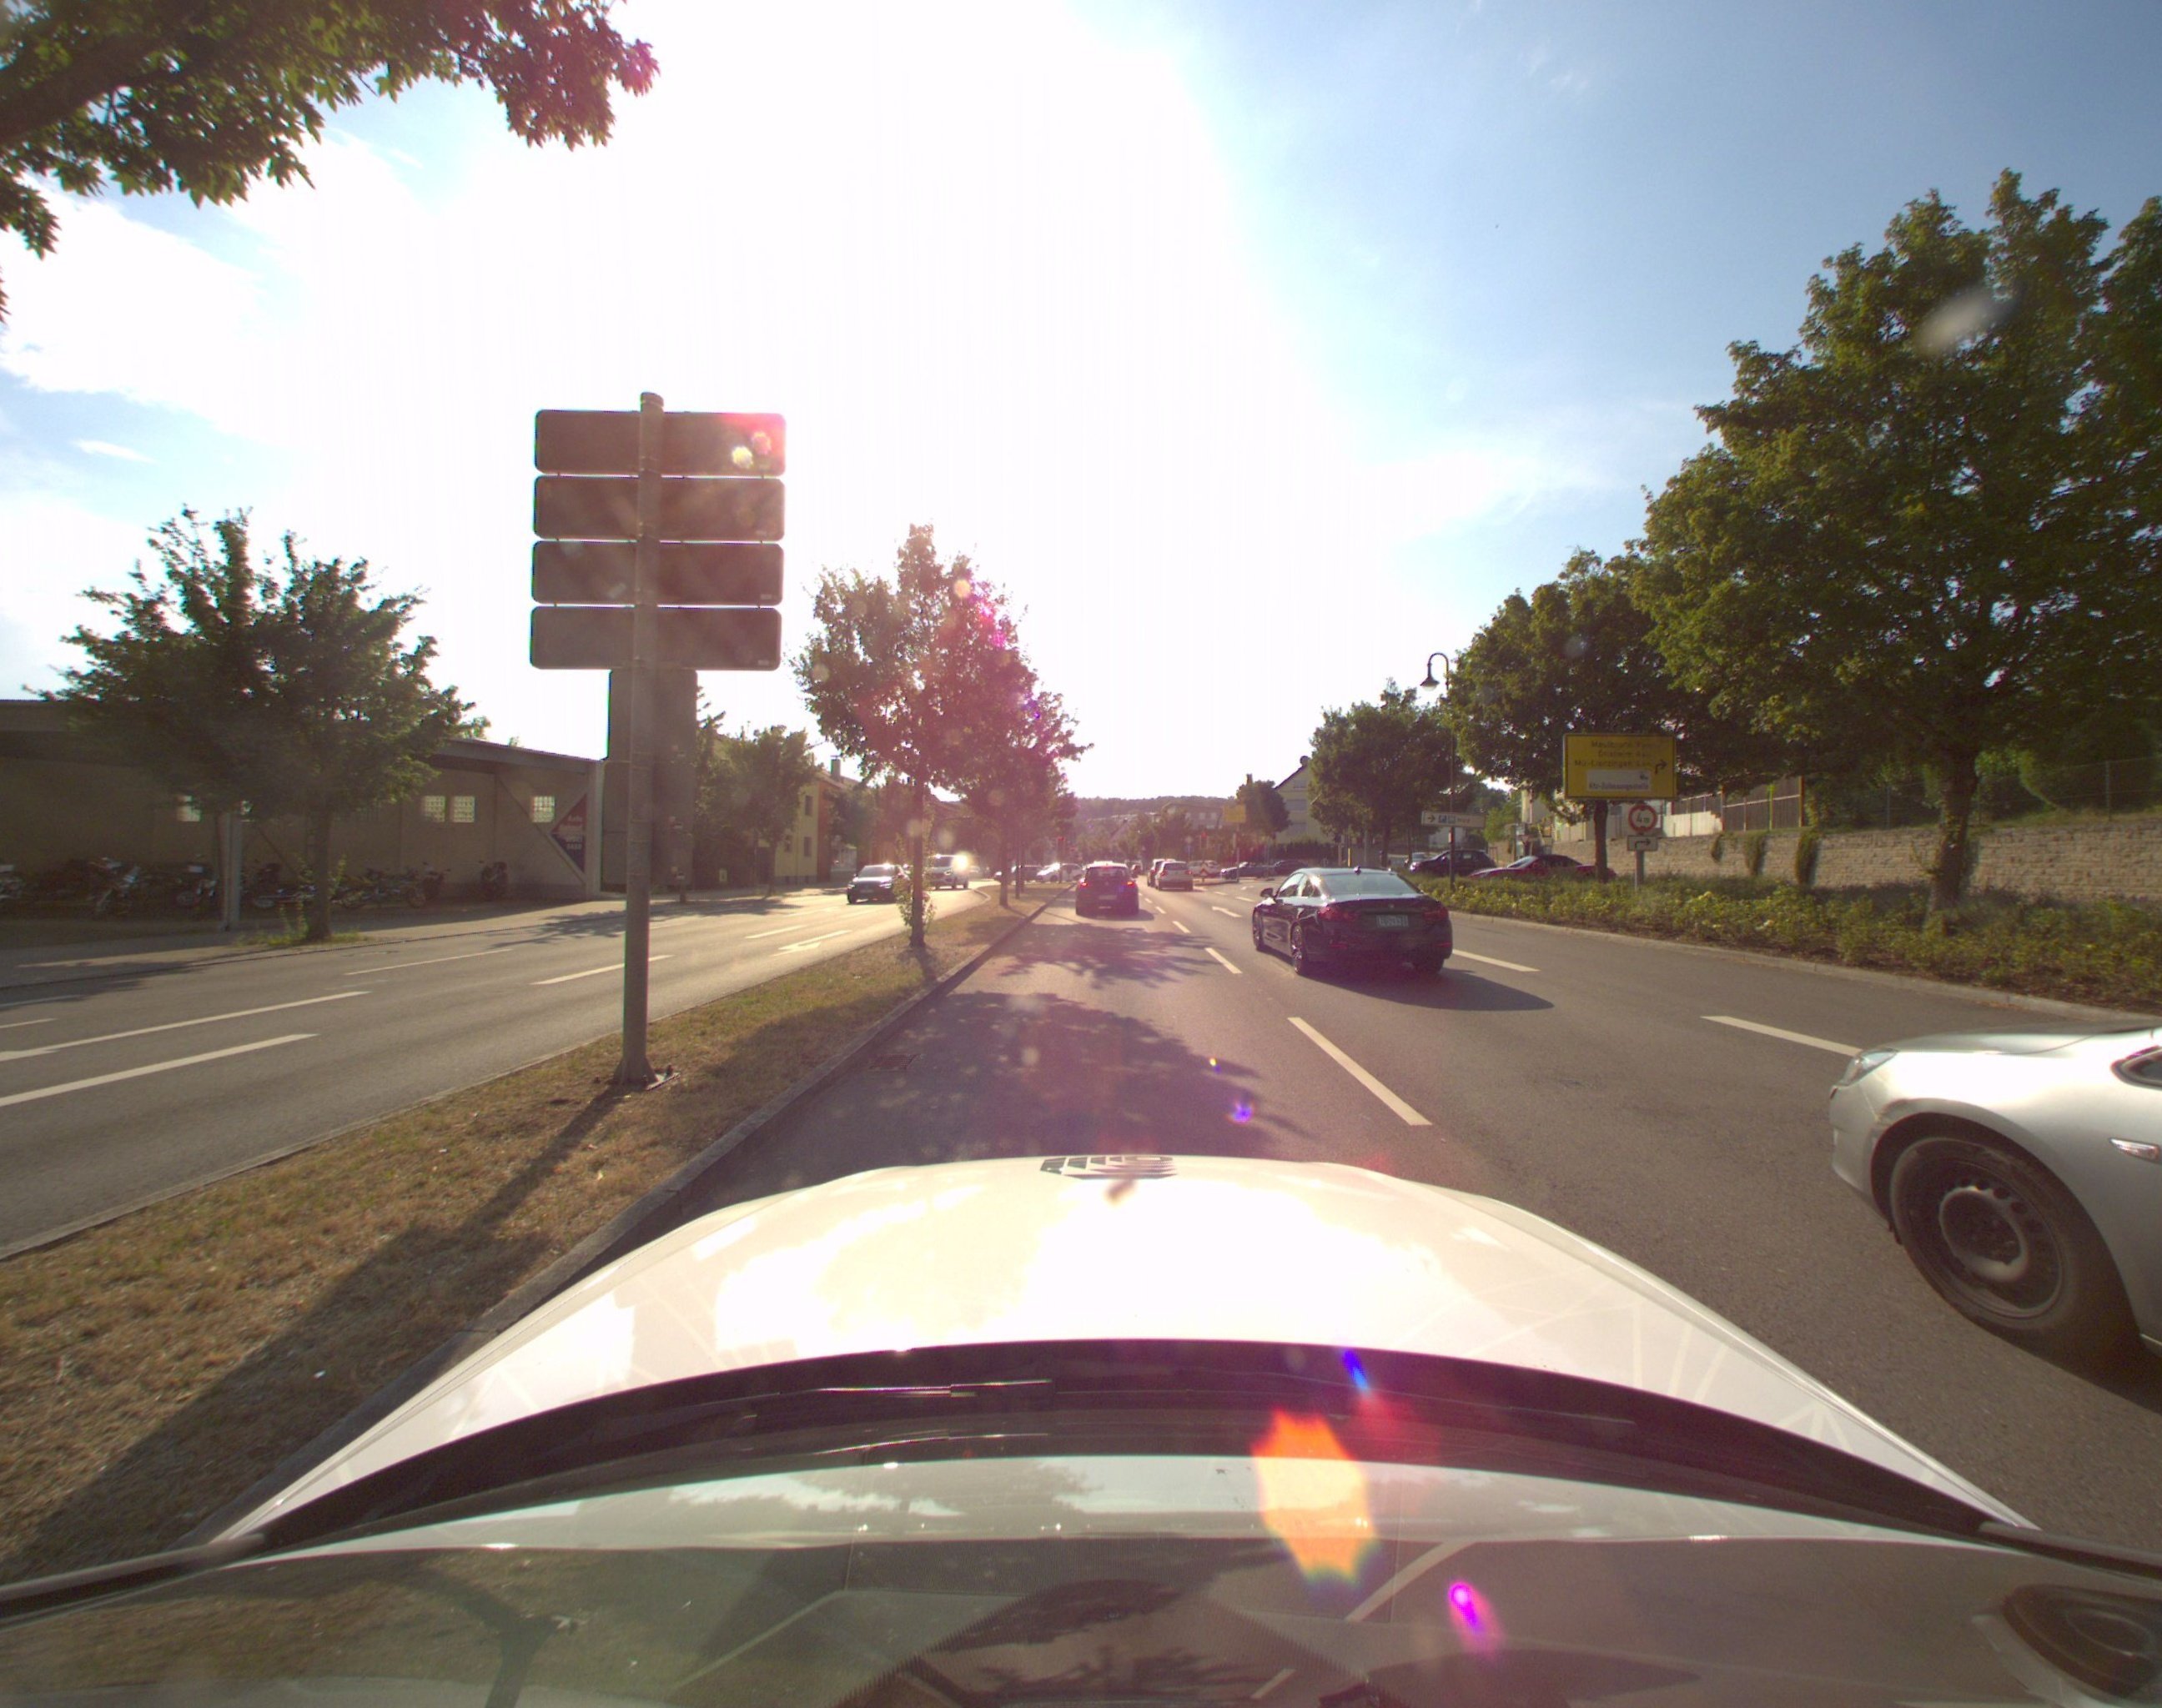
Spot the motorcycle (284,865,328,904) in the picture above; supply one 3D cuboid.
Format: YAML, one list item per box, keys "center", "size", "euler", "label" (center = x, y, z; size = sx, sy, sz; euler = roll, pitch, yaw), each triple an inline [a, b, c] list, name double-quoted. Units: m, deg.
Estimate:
- center: [-26.940, 1.035, 28.342]
  size: [0.585, 1.308, 2.071]
  euler: [0, -1, -29]
  label: "motorcycle"

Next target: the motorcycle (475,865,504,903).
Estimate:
- center: [-20.735, 1.027, 28.565]
  size: [0.564, 1.308, 2.096]
  euler: [0, -1, -29]
  label: "motorcycle"

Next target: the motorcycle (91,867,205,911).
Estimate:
- center: [-28.055, 1.029, 24.533]
  size: [0.638, 1.258, 2.167]
  euler: [-1, -1, 31]
  label: "motorcycle"

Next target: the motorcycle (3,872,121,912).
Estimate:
- center: [-30.646, 1.113, 24.537]
  size: [0.556, 1.123, 2.167]
  euler: [-1, -1, 31]
  label: "motorcycle"

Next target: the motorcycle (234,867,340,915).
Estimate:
- center: [-23.275, 1.063, 23.925]
  size: [0.556, 1.330, 2.167]
  euler: [-1, -1, 31]
  label: "motorcycle"

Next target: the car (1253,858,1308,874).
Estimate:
- center: [18.215, 1.085, 74.383]
  size: [4.614, 1.422, 1.849]
  euler: [0, -1, 0]
  label: "car"

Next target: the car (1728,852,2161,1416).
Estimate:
- center: [3.593, 0.698, 1.419]
  size: [1.737, 1.442, 4.169]
  euler: [-1, -1, 2]
  label: "car"

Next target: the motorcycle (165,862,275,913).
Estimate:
- center: [-25.708, 0.982, 24.373]
  size: [0.587, 1.449, 2.167]
  euler: [-1, -1, 31]
  label: "motorcycle"

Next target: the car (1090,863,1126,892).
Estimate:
- center: [1.446, 1.186, 42.932]
  size: [1.809, 1.451, 4.244]
  euler: [-1, -1, 2]
  label: "car"

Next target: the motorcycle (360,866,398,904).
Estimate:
- center: [-25.112, 1.102, 29.161]
  size: [0.625, 1.308, 2.071]
  euler: [0, -1, -29]
  label: "motorcycle"

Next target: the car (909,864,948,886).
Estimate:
- center: [-10.627, 1.425, 57.007]
  size: [1.800, 1.497, 4.246]
  euler: [0, -1, 1]
  label: "car"

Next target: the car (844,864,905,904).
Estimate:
- center: [-8.059, 1.126, 32.087]
  size: [1.767, 1.451, 4.098]
  euler: [-1, -1, -7]
  label: "car"

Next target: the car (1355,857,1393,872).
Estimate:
- center: [28.683, 1.010, 79.621]
  size: [1.844, 1.486, 4.687]
  euler: [-1, -1, 42]
  label: "car"

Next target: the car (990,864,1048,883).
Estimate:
- center: [-5.289, 1.640, 69.543]
  size: [4.726, 1.462, 1.675]
  euler: [0, -1, -31]
  label: "car"

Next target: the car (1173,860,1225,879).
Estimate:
- center: [11.357, 1.513, 78.326]
  size: [4.465, 1.702, 1.909]
  euler: [-2, -1, 33]
  label: "car"

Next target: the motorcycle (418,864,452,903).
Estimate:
- center: [-22.776, 1.012, 28.740]
  size: [0.564, 1.308, 2.071]
  euler: [0, -1, -29]
  label: "motorcycle"

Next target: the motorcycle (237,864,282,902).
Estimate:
- center: [-29.264, 1.017, 29.043]
  size: [0.564, 1.308, 2.071]
  euler: [0, -1, -29]
  label: "motorcycle"

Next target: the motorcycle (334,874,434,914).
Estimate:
- center: [-20.724, 1.163, 24.278]
  size: [0.623, 1.124, 2.167]
  euler: [-1, -1, 31]
  label: "motorcycle"

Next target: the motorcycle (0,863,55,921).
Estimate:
- center: [-25.296, 0.884, 19.325]
  size: [0.652, 1.311, 1.985]
  euler: [0, -1, -36]
  label: "motorcycle"

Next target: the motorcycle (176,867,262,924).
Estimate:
- center: [-21.119, 0.992, 20.000]
  size: [0.670, 1.311, 1.993]
  euler: [0, -1, -22]
  label: "motorcycle"

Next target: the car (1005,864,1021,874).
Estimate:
- center: [-10.426, 2.293, 125.768]
  size: [1.916, 1.596, 4.003]
  euler: [0, -1, 3]
  label: "car"

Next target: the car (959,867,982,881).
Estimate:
- center: [-12.931, 2.324, 95.739]
  size: [1.916, 1.596, 4.003]
  euler: [0, -1, 3]
  label: "car"

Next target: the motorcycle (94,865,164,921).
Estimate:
- center: [-23.223, 0.921, 19.907]
  size: [0.652, 1.311, 1.985]
  euler: [0, -1, -36]
  label: "motorcycle"

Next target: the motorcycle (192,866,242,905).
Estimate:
- center: [-30.239, 1.083, 28.523]
  size: [0.564, 1.308, 2.071]
  euler: [0, -1, -29]
  label: "motorcycle"

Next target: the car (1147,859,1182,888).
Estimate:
- center: [4.959, 1.130, 48.627]
  size: [1.809, 1.666, 4.349]
  euler: [-1, -1, 2]
  label: "car"

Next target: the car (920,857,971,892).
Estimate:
- center: [-7.812, 1.155, 47.386]
  size: [1.815, 1.923, 4.948]
  euler: [-1, -1, 3]
  label: "car"

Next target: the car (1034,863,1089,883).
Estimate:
- center: [-1.531, 1.454, 63.807]
  size: [3.972, 1.497, 1.787]
  euler: [0, -1, -35]
  label: "car"

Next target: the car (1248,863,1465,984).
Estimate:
- center: [3.656, 0.841, 11.688]
  size: [1.809, 1.389, 4.349]
  euler: [-1, -1, 2]
  label: "car"

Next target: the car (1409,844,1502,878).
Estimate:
- center: [18.771, 0.369, 40.939]
  size: [3.959, 1.608, 1.860]
  euler: [-1, -1, 13]
  label: "car"

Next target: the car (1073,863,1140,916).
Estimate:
- center: [0.794, 0.985, 24.172]
  size: [1.783, 1.414, 4.349]
  euler: [-1, -1, 2]
  label: "car"

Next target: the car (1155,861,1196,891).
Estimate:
- center: [4.813, 1.123, 42.069]
  size: [1.809, 1.446, 4.349]
  euler: [-1, -1, 2]
  label: "car"

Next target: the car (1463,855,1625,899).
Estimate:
- center: [14.050, 0.694, 24.956]
  size: [3.959, 1.272, 1.860]
  euler: [-1, -1, 13]
  label: "car"

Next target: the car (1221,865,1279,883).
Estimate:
- center: [14.255, 1.712, 68.704]
  size: [4.462, 1.349, 1.781]
  euler: [0, 3, -9]
  label: "car"
